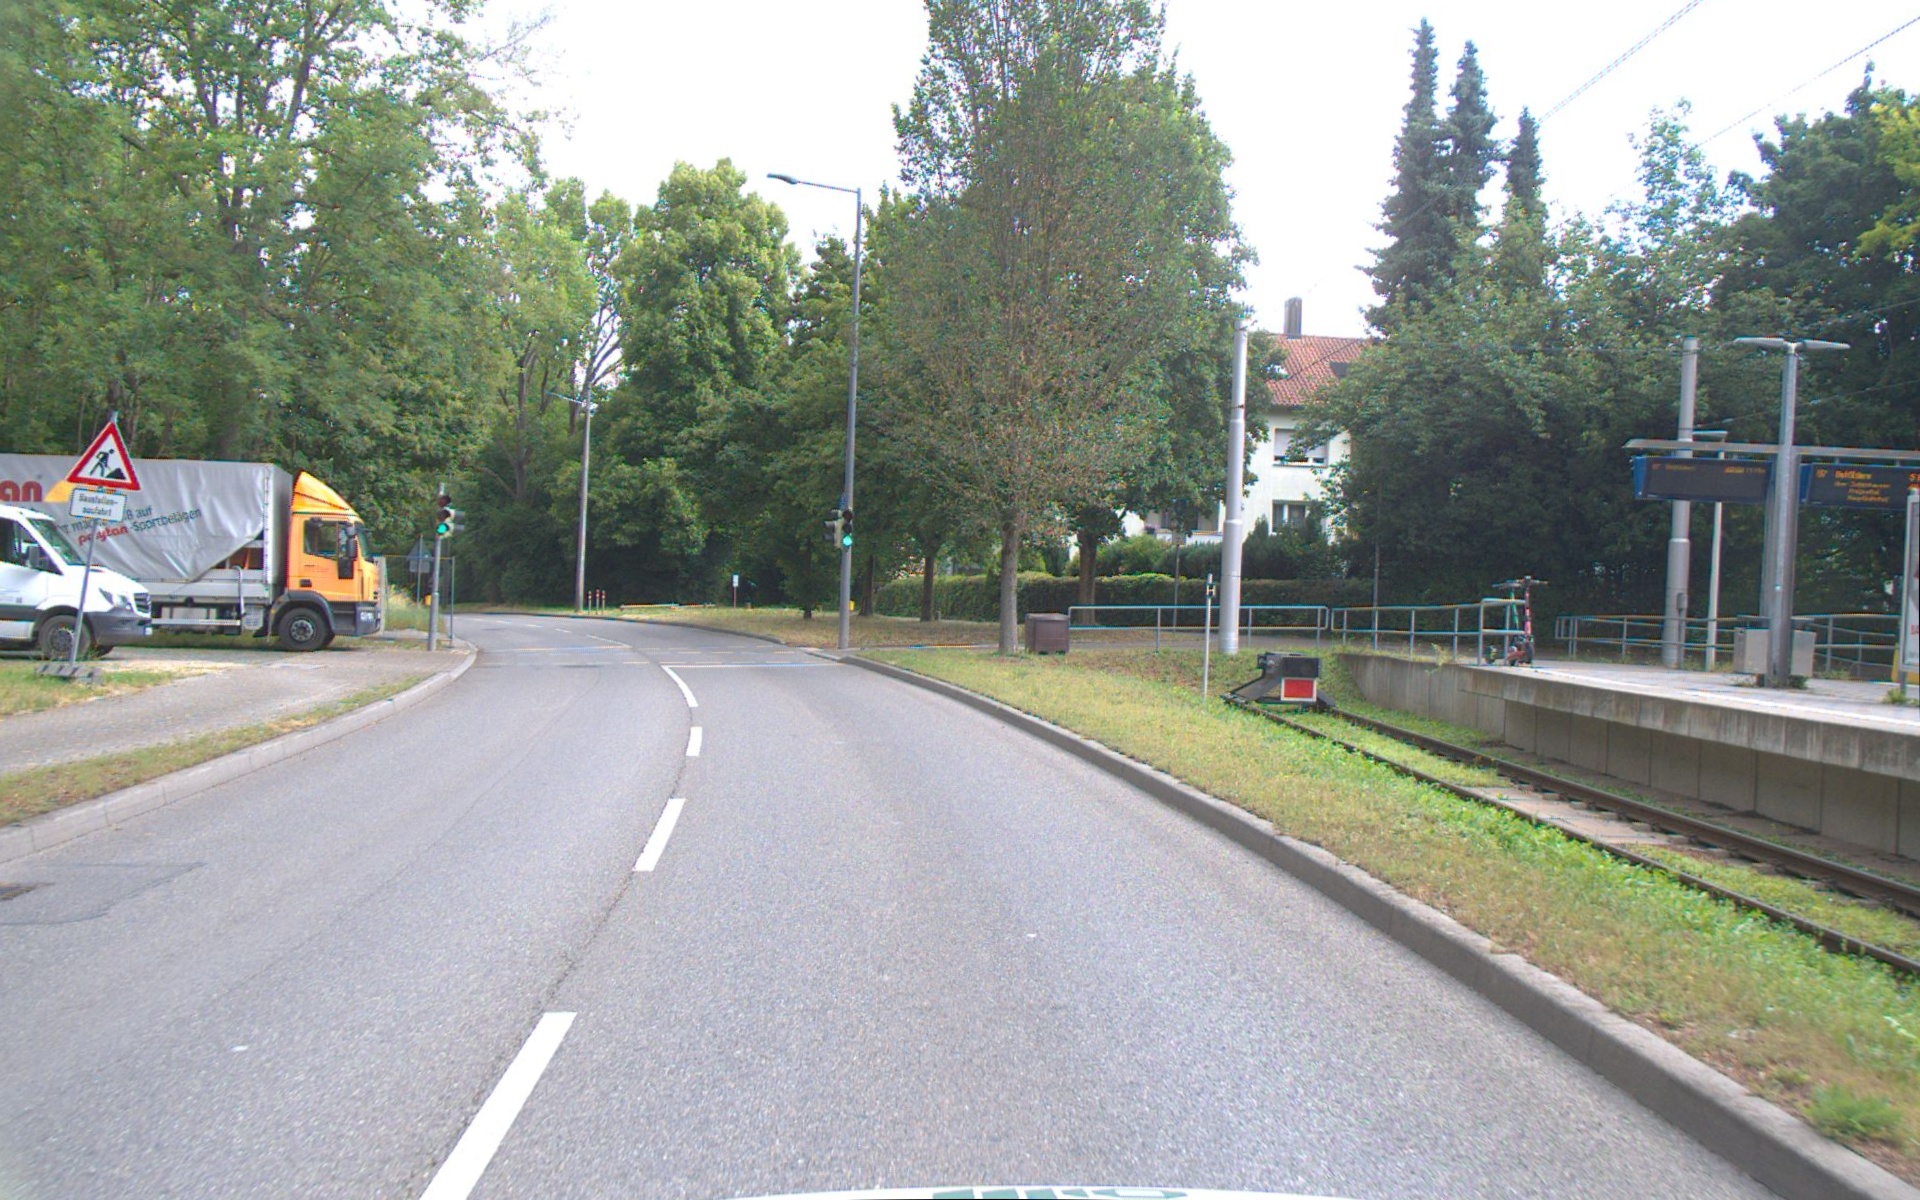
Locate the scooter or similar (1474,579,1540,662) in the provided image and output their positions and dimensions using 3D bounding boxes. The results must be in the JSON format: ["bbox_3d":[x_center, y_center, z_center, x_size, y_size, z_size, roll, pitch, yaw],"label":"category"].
[{"bbox_3d":[8.635,0.336,26.140,0.422,1.275,1.250,1,-1,-13],"label":"scooter or similar"}]

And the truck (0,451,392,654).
[{"bbox_3d":[-16.005,-0.878,32.155,9.077,3.593,2.555,2,-1,-15],"label":"truck"}]

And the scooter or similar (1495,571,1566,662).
[{"bbox_3d":[8.162,0.242,23.702,0.422,1.275,1.252,1,-1,-9],"label":"scooter or similar"}]

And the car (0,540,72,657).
[{"bbox_3d":[-17.571,-0.125,28.175,3.923,1.942,1.774,3,0,-17],"label":"car"}]

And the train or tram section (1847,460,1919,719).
[{"bbox_3d":[15.029,0.047,15.265,2.756,3.650,19.511,3,1,-1],"label":"train or tram section"}]

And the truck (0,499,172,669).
[{"bbox_3d":[-15.729,-0.333,25.254,6.285,2.458,2.113,3,-1,-17],"label":"truck"}]
